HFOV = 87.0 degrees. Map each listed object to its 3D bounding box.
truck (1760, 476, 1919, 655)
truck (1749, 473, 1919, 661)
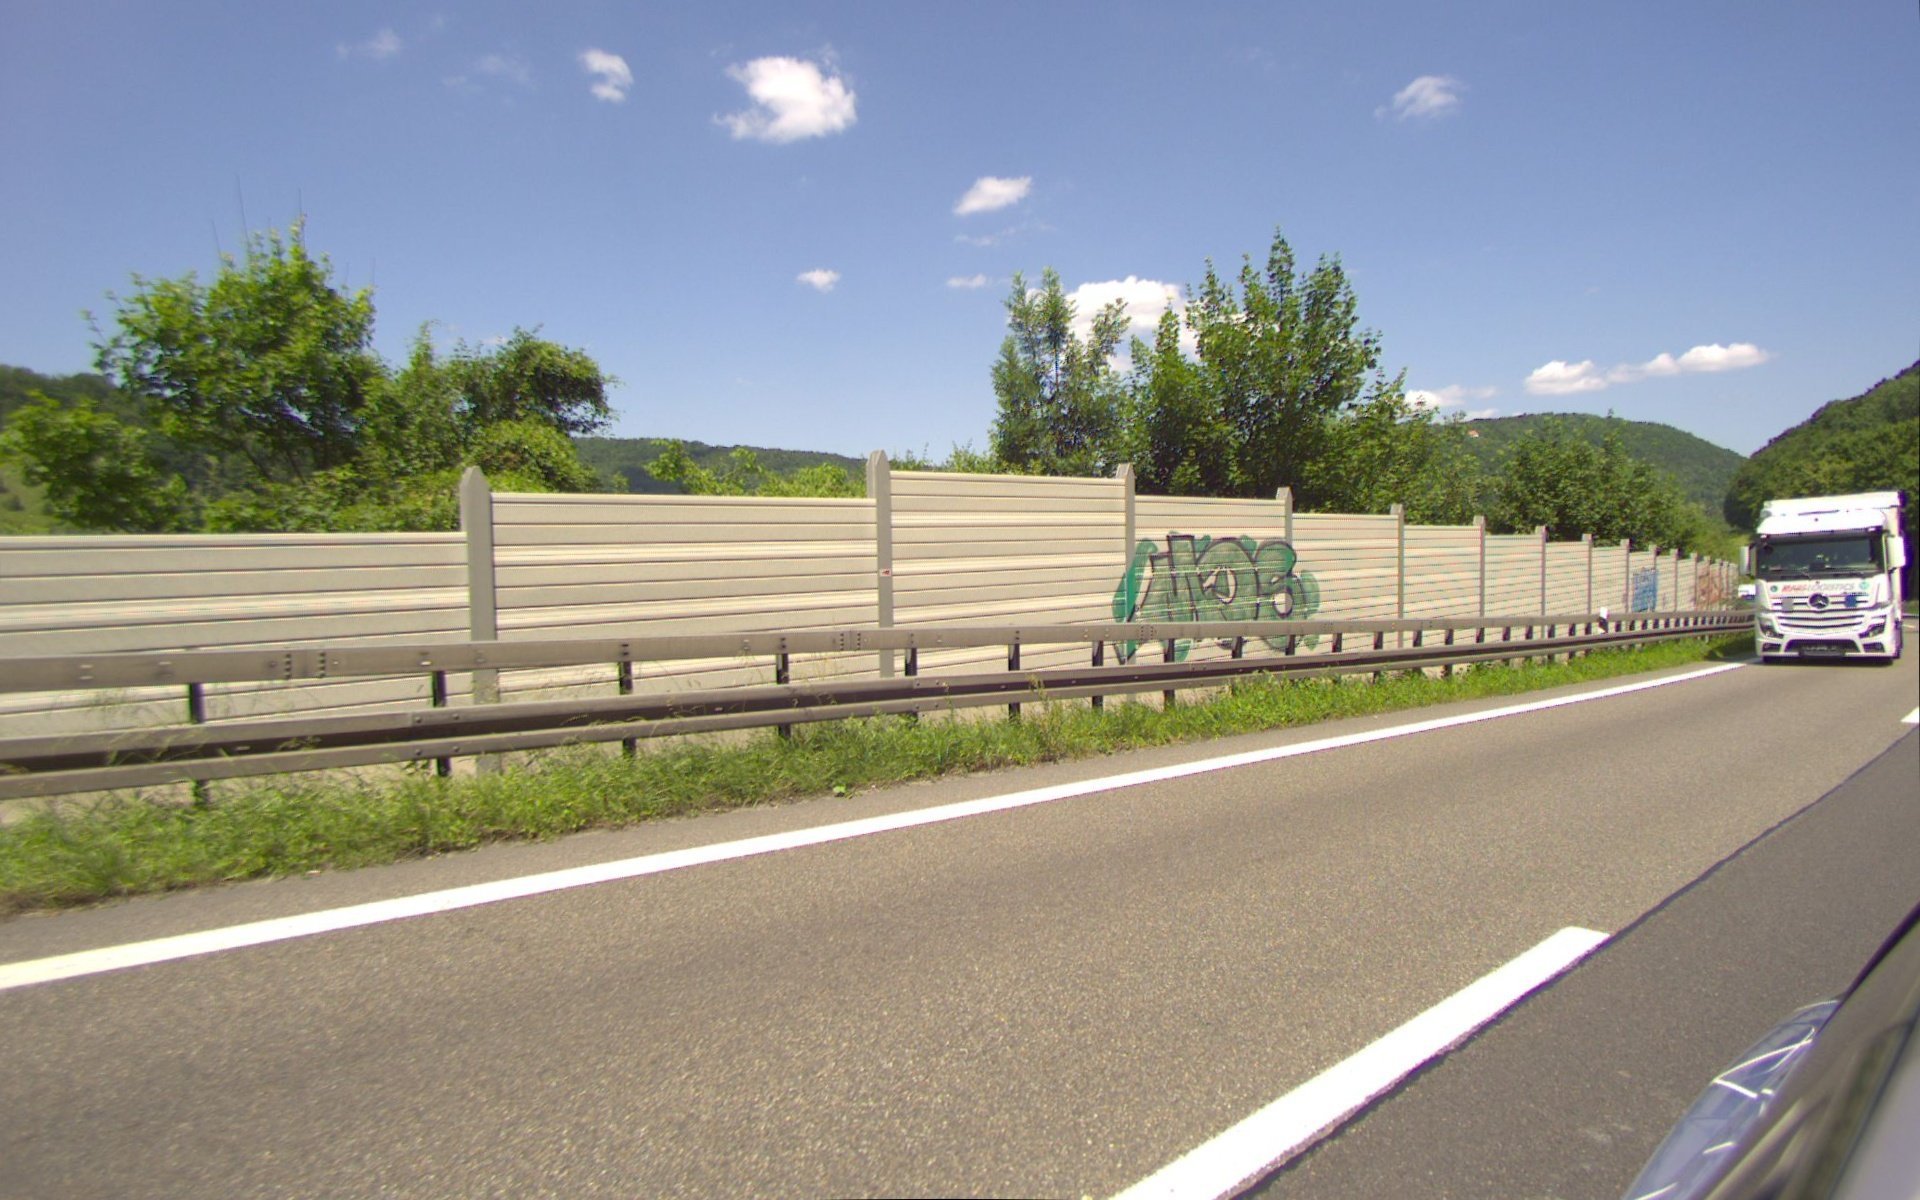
[{"bbox_3d":[25.499,-0.866,28.948,2.854,4.200,11.856,-2,-1,44],"label":"truck"},{"bbox_3d":[22.109,-0.737,25.382,2.757,4.090,6.715,-4,-1,44],"label":"truck"}]
